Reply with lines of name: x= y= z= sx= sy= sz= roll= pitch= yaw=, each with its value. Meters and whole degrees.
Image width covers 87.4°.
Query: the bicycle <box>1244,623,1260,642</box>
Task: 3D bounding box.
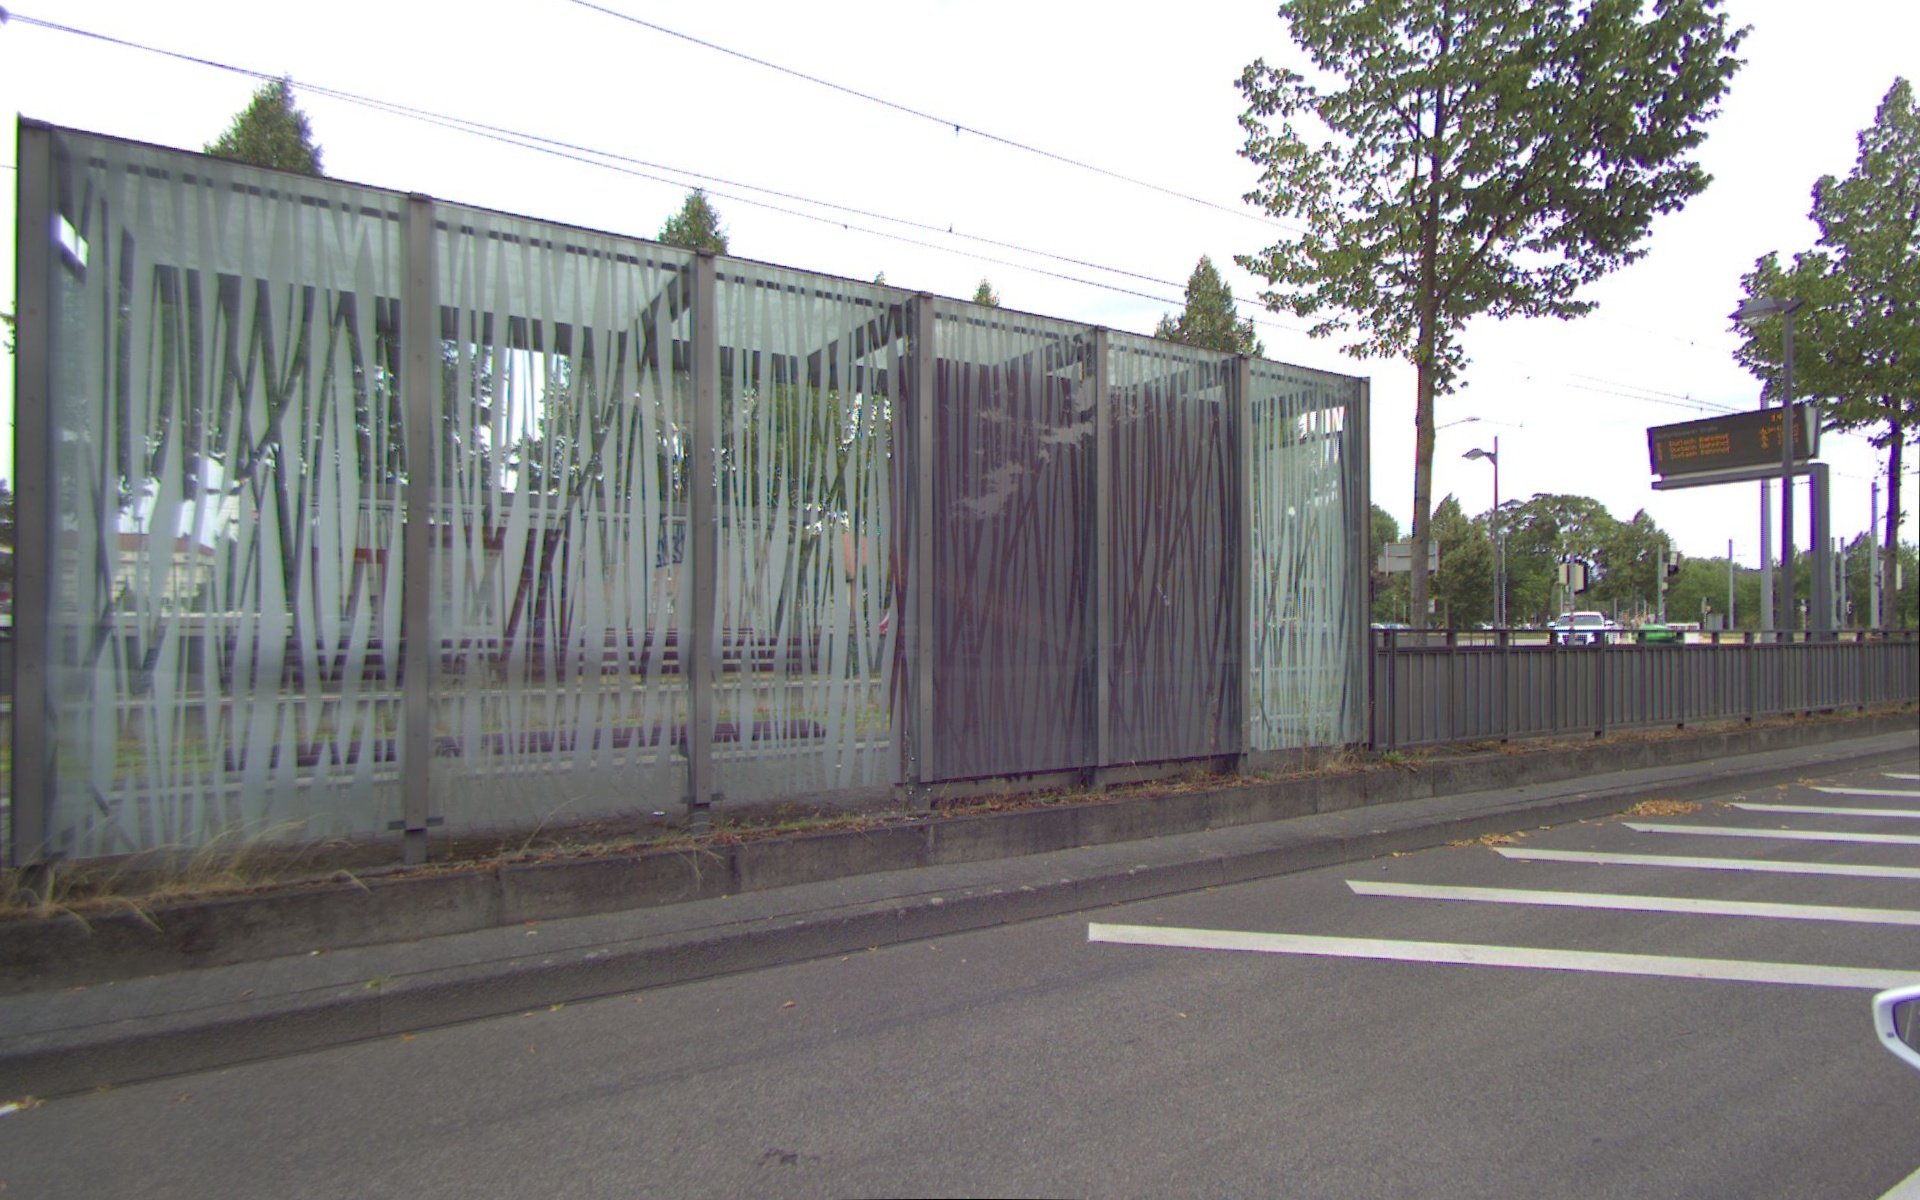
bicycle: x=18.476 y=2.031 z=63.525 sx=0.793 sy=1.144 sz=2.708 roll=0 pitch=-1 yaw=19

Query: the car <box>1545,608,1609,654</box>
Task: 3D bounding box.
car: x=23.382 y=1.166 z=38.189 sx=1.965 sy=1.639 sz=4.376 roll=-1 pitch=-1 yaw=30

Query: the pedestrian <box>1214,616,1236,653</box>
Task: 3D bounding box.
pedestrian: x=14.595 y=1.894 z=55.278 sx=0.638 sy=1.871 sz=0.491 roll=18 pitch=14 yaw=20
